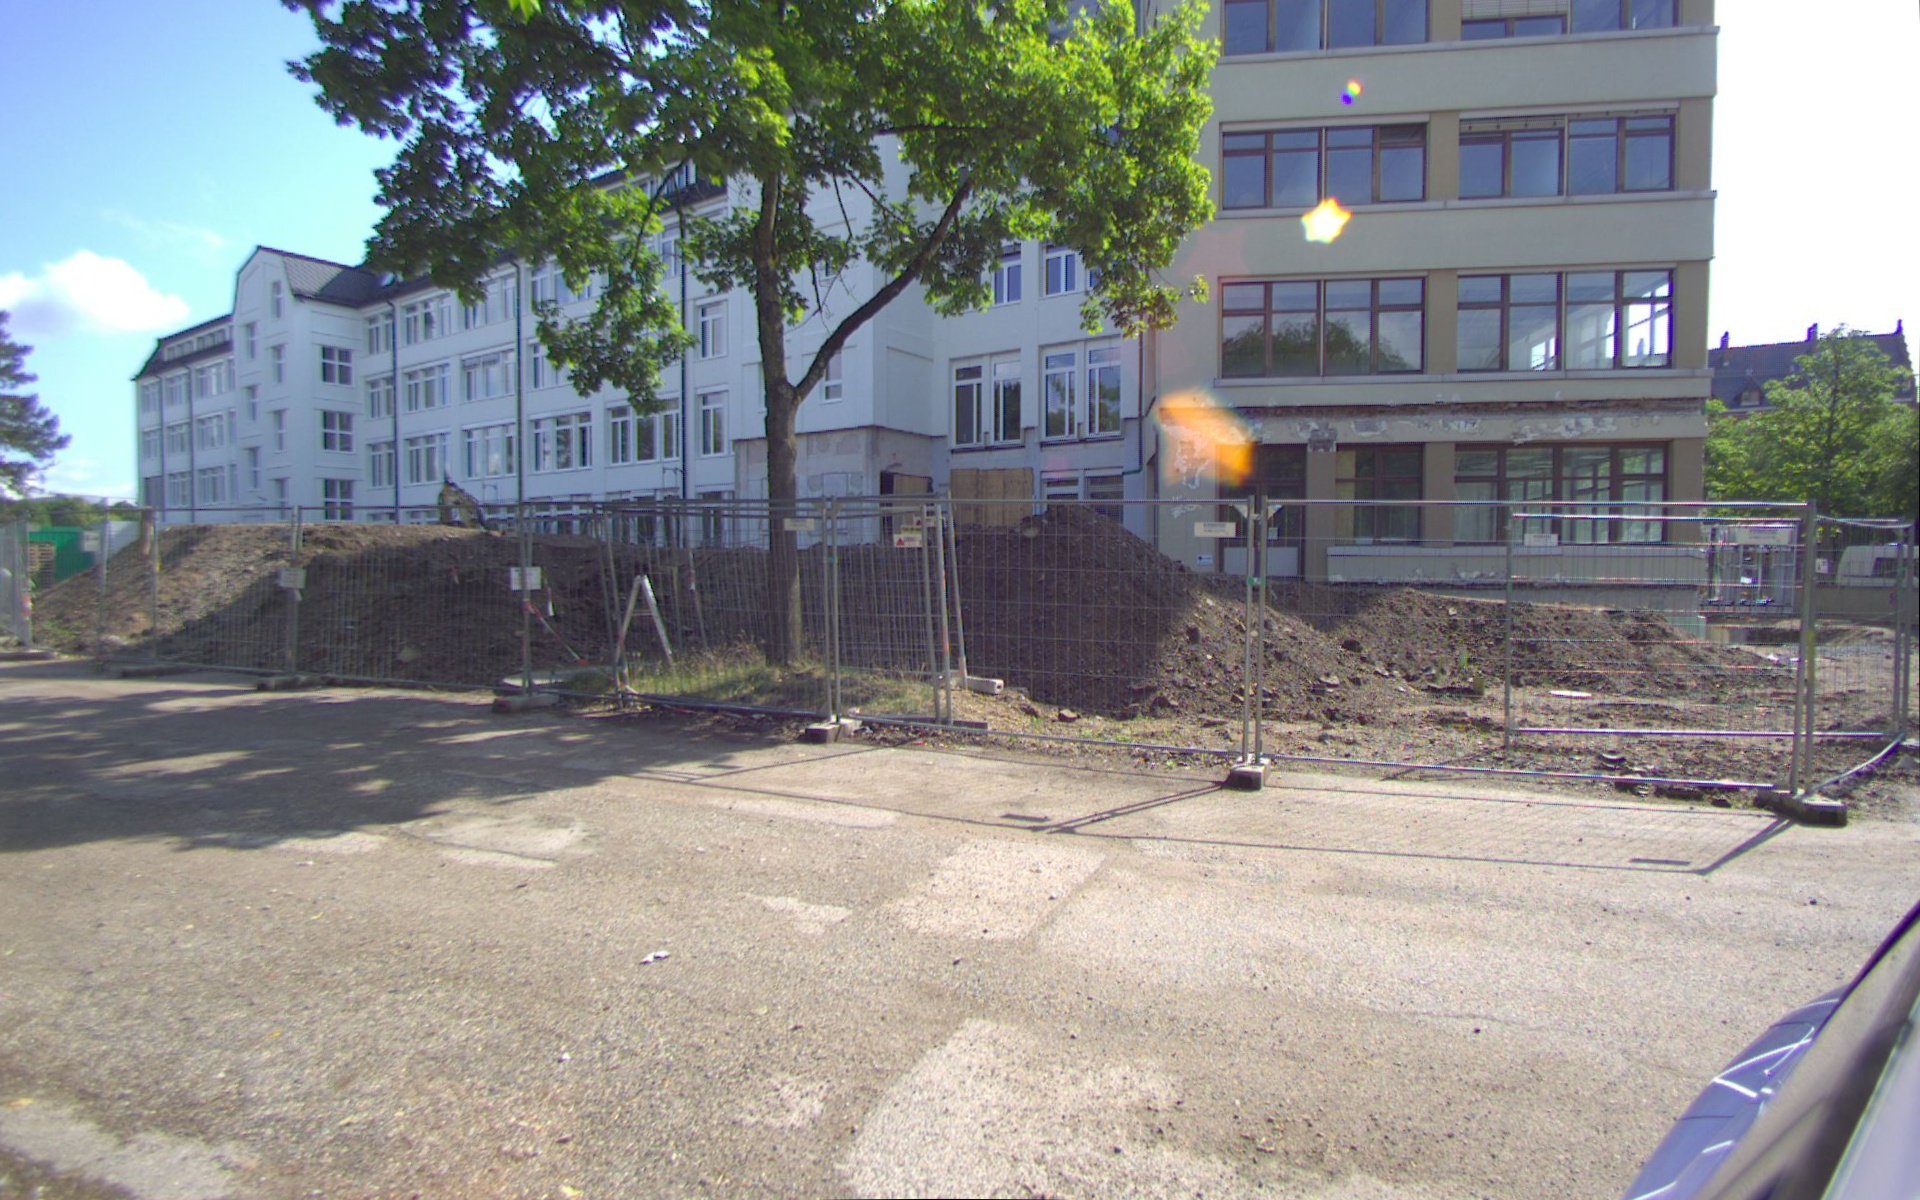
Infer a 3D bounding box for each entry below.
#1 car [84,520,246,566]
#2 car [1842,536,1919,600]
[{"bbox_3d":[-31.826,-2.234,40.662,1.833,1.446,4.805,-2,-2,35],"label":"car"},{"bbox_3d":[31.783,-1.031,32.928,1.966,2.038,5.299,1,2,8],"label":"car"}]
